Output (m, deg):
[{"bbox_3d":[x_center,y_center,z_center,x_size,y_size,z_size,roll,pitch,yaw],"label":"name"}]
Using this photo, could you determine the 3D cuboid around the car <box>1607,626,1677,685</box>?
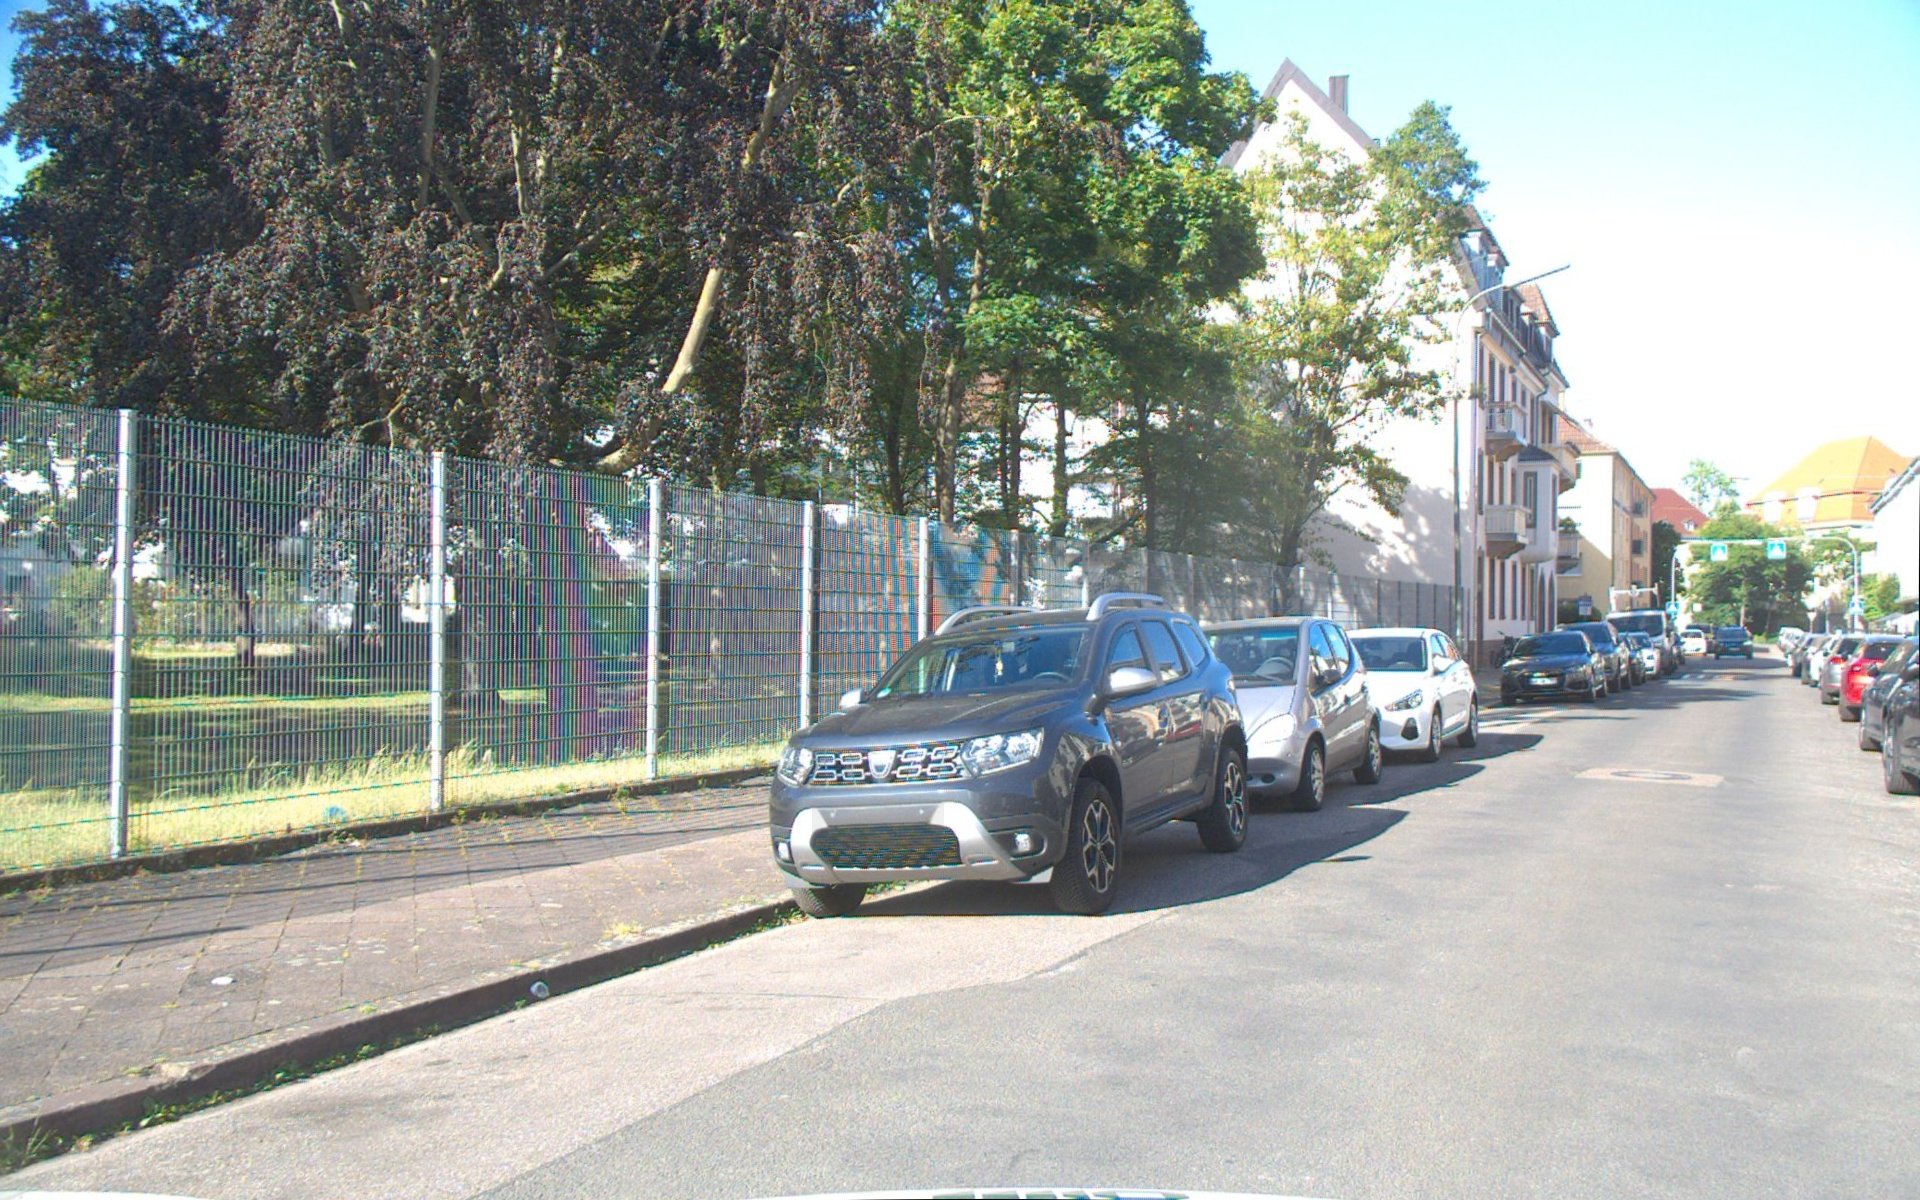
[{"bbox_3d":[21.224,1.685,51.374,1.756,1.568,4.639,-6,-3,24],"label":"car"}]

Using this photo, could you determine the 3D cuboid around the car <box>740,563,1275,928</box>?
[{"bbox_3d":[0.527,0.755,9.931,1.678,1.693,4.162,-3,-2,24],"label":"car"}]

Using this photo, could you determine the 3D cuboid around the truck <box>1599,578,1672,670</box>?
[{"bbox_3d":[23.710,0.867,57.904,2.213,3.039,7.272,0,-1,23],"label":"truck"}]

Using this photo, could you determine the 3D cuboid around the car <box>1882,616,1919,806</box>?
[{"bbox_3d":[9.051,0.953,14.029,1.717,1.586,4.253,1,-1,24],"label":"car"}]

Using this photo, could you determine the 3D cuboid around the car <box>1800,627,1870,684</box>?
[{"bbox_3d":[25.732,1.593,48.722,1.655,1.492,3.578,3,1,27],"label":"car"}]

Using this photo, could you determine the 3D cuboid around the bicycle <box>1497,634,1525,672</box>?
[{"bbox_3d":[18.921,1.809,56.779,0.617,1.225,2.338,0,0,26],"label":"bicycle"}]

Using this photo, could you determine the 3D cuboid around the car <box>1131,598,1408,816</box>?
[{"bbox_3d":[2.868,0.898,14.736,1.532,1.672,3.613,-4,-3,24],"label":"car"}]

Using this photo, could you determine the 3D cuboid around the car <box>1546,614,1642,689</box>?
[{"bbox_3d":[15.446,1.242,40.142,1.841,1.693,4.928,-2,-2,24],"label":"car"}]

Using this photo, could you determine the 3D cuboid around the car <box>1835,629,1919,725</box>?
[{"bbox_3d":[15.665,1.234,27.723,1.718,1.469,4.517,0,-1,27],"label":"car"}]

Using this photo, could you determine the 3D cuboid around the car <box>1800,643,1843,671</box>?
[{"bbox_3d":[47.130,3.098,90.528,1.808,1.466,3.417,0,-1,24],"label":"car"}]

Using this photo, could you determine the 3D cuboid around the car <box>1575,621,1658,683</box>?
[{"bbox_3d":[18.335,1.434,46.116,1.757,1.590,4.454,1,-1,27],"label":"car"}]

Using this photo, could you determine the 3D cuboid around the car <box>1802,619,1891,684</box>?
[{"bbox_3d":[23.855,1.367,44.596,1.653,1.487,3.818,6,1,23],"label":"car"}]

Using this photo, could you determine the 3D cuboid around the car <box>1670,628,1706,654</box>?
[{"bbox_3d":[43.538,2.432,98.913,1.756,1.506,4.094,-1,-1,26],"label":"car"}]

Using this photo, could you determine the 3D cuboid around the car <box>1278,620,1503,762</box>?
[{"bbox_3d":[5.115,1.000,19.279,1.758,1.470,4.116,-2,-2,25],"label":"car"}]

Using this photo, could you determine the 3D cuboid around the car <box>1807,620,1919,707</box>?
[{"bbox_3d":[18.742,1.274,34.319,1.861,1.650,4.599,1,-1,25],"label":"car"}]

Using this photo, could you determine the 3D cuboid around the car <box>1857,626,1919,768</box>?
[{"bbox_3d":[11.580,1.083,19.168,1.717,1.507,4.078,1,-1,24],"label":"car"}]

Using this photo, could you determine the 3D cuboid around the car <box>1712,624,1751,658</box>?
[{"bbox_3d":[39.162,2.077,83.991,1.785,1.662,4.254,0,-1,25],"label":"car"}]

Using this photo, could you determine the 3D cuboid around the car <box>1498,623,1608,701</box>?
[{"bbox_3d":[12.411,1.273,34.462,1.758,1.497,4.499,-2,-2,24],"label":"car"}]
